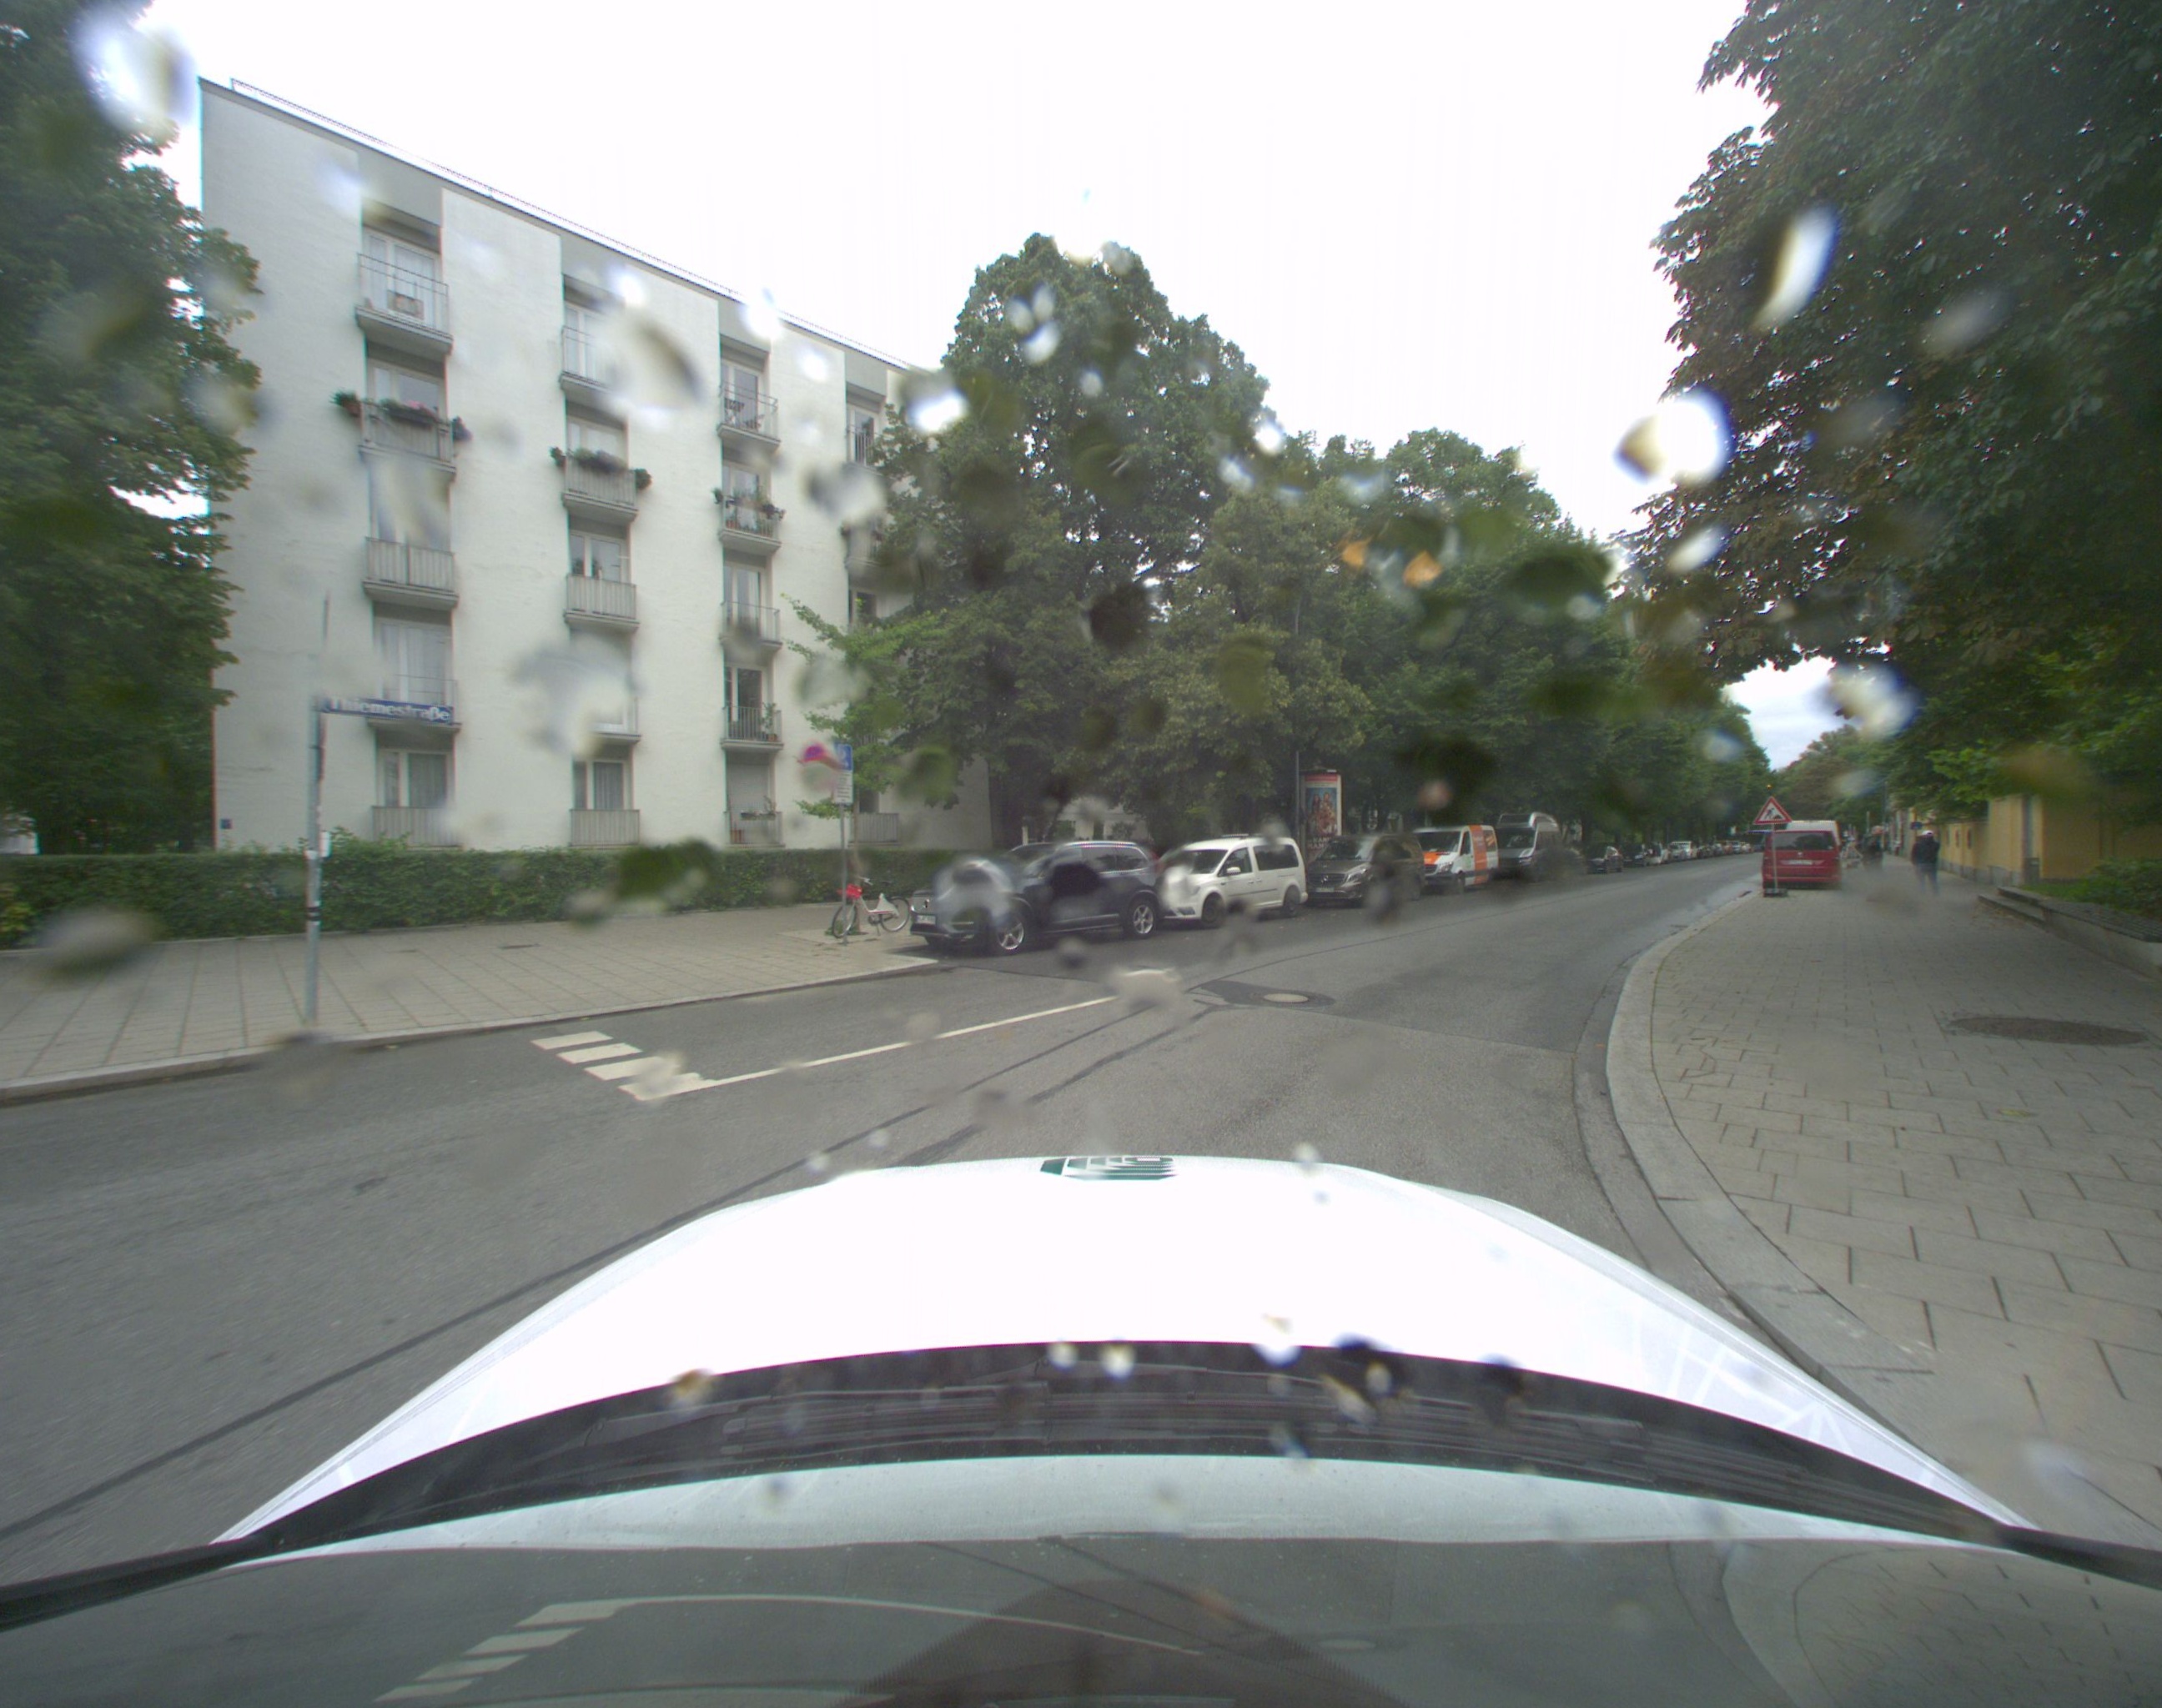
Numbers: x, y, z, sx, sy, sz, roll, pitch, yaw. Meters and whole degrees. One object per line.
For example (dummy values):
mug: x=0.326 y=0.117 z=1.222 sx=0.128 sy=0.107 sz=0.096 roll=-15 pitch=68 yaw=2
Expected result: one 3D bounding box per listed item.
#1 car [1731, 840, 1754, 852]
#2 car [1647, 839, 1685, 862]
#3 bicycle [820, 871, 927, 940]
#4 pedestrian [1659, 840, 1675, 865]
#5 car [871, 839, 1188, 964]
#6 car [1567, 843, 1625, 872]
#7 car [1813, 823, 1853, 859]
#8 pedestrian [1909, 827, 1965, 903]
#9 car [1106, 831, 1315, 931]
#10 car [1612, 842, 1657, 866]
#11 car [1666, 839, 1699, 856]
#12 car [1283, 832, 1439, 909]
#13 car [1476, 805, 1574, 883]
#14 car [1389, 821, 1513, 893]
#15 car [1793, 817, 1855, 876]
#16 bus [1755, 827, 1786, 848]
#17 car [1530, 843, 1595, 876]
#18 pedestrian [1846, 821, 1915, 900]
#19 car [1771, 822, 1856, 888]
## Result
car: x=78.549 y=-0.980 z=96.724 sx=1.974 sy=1.420 sz=4.025 roll=0 pitch=1 yaw=41
car: x=43.732 y=-0.302 z=60.856 sx=1.974 sy=1.620 sz=4.155 roll=0 pitch=1 yaw=41
bicycle: x=-3.664 y=0.874 z=14.499 sx=0.744 sy=1.085 sz=1.796 roll=-1 pitch=0 yaw=34
pedestrian: x=38.790 y=-0.115 z=53.909 sx=0.875 sy=1.597 sz=0.828 roll=0 pitch=0 yaw=36
car: x=-0.661 y=0.635 z=13.930 sx=5.335 sy=1.719 sz=2.065 roll=-1 pitch=1 yaw=-44
car: x=27.007 y=0.165 z=42.655 sx=1.974 sy=1.420 sz=4.155 roll=0 pitch=1 yaw=41
car: x=56.459 y=-0.968 z=61.212 sx=1.821 sy=2.622 sz=4.412 roll=-1 pitch=0 yaw=38
pedestrian: x=19.392 y=0.243 z=18.471 sx=0.627 sy=1.667 sz=0.701 roll=-1 pitch=0 yaw=22
car: x=2.984 y=0.477 z=17.917 sx=2.064 sy=1.903 sz=4.887 roll=0 pitch=1 yaw=45
car: x=36.001 y=-0.006 z=52.923 sx=1.974 sy=1.486 sz=4.155 roll=0 pitch=1 yaw=41
car: x=51.185 y=-0.550 z=69.274 sx=1.974 sy=1.420 sz=4.025 roll=0 pitch=1 yaw=41
car: x=7.974 y=0.385 z=22.774 sx=2.007 sy=1.908 sz=5.702 roll=-2 pitch=-1 yaw=42
car: x=18.925 y=-0.431 z=34.535 sx=2.152 sy=3.002 sz=6.271 roll=-1 pitch=0 yaw=43
car: x=12.872 y=0.081 z=28.110 sx=2.064 sy=2.265 sz=5.636 roll=-3 pitch=-1 yaw=44
car: x=34.715 y=-0.370 z=37.994 sx=1.975 sy=2.558 sz=5.463 roll=-1 pitch=0 yaw=44
bus: x=96.422 y=-2.289 z=113.996 sx=2.909 sy=2.919 sz=8.292 roll=0 pitch=1 yaw=38
car: x=22.976 y=0.227 z=38.780 sx=1.974 sy=1.420 sz=4.025 roll=0 pitch=1 yaw=41
pedestrian: x=19.128 y=0.154 z=19.517 sx=0.813 sy=1.836 sz=0.956 roll=-1 pitch=0 yaw=17
car: x=23.745 y=-0.010 z=26.482 sx=1.893 sy=1.937 sz=5.000 roll=0 pitch=1 yaw=41
